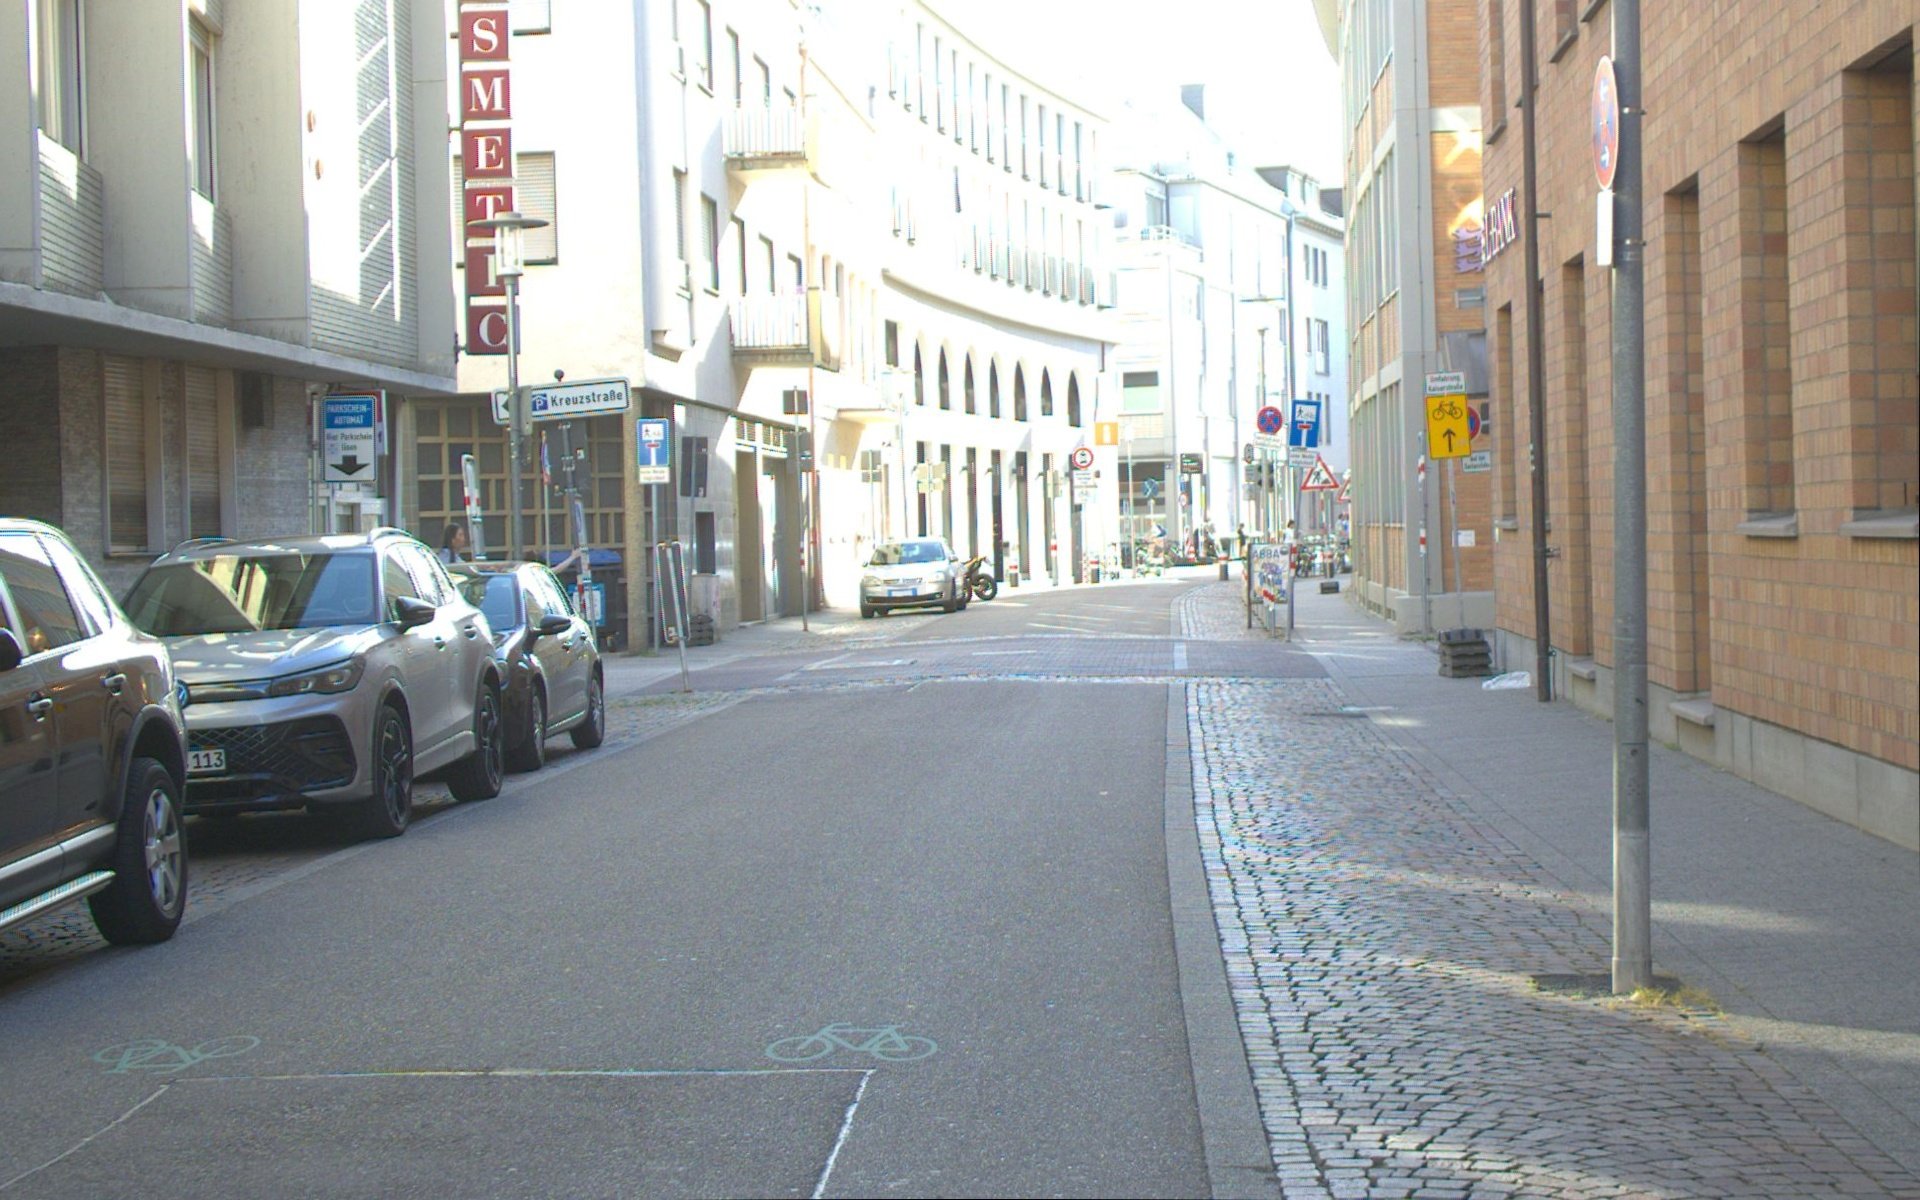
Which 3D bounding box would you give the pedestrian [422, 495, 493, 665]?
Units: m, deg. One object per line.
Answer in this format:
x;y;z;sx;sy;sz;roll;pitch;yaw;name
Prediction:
-5.176;-0.211;35.449;0.448;1.732;0.552;-1;1;27;pedestrian

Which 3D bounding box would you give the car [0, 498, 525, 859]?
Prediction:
-3.780;0.332;19.325;1.890;1.736;4.391;-2;2;2;car

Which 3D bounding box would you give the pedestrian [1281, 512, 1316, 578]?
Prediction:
9.580;-1.559;97.408;0.659;1.862;0.786;0;1;-26;pedestrian

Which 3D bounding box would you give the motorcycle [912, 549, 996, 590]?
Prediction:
-0.125;-0.642;72.184;1.691;0.856;0.594;0;1;9;motorcycle

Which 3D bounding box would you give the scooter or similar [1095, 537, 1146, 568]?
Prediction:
5.019;-1.488;107.512;0.526;0.925;2.223;0;2;34;scooter or similar

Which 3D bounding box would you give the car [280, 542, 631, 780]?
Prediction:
-3.575;0.380;25.040;1.648;1.455;3.999;-4;1;4;car

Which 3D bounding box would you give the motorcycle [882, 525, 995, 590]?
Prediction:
-0.465;-0.943;76.081;2.391;1.312;0.862;-3;1;4;motorcycle

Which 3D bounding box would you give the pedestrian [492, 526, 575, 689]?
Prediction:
-4.316;0.072;34.793;0.645;1.620;0.457;-2;2;-38;pedestrian

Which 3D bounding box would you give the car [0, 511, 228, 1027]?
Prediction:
-4.075;0.575;11.733;1.890;1.670;4.553;-2;2;3;car

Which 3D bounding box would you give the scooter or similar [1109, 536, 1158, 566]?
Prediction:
5.596;-1.582;110.712;0.526;0.925;2.223;0;2;34;scooter or similar

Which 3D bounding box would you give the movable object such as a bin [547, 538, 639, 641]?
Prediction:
-5.118;-0.153;47.941;0.931;1.415;0.884;0;1;-43;movable object such as a bin

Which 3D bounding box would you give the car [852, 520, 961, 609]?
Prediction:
-0.982;-0.690;64.789;1.737;1.600;3.532;-1;2;4;car

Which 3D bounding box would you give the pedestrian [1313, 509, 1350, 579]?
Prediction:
9.956;-1.490;92.151;0.659;1.862;0.761;0;1;-26;pedestrian
